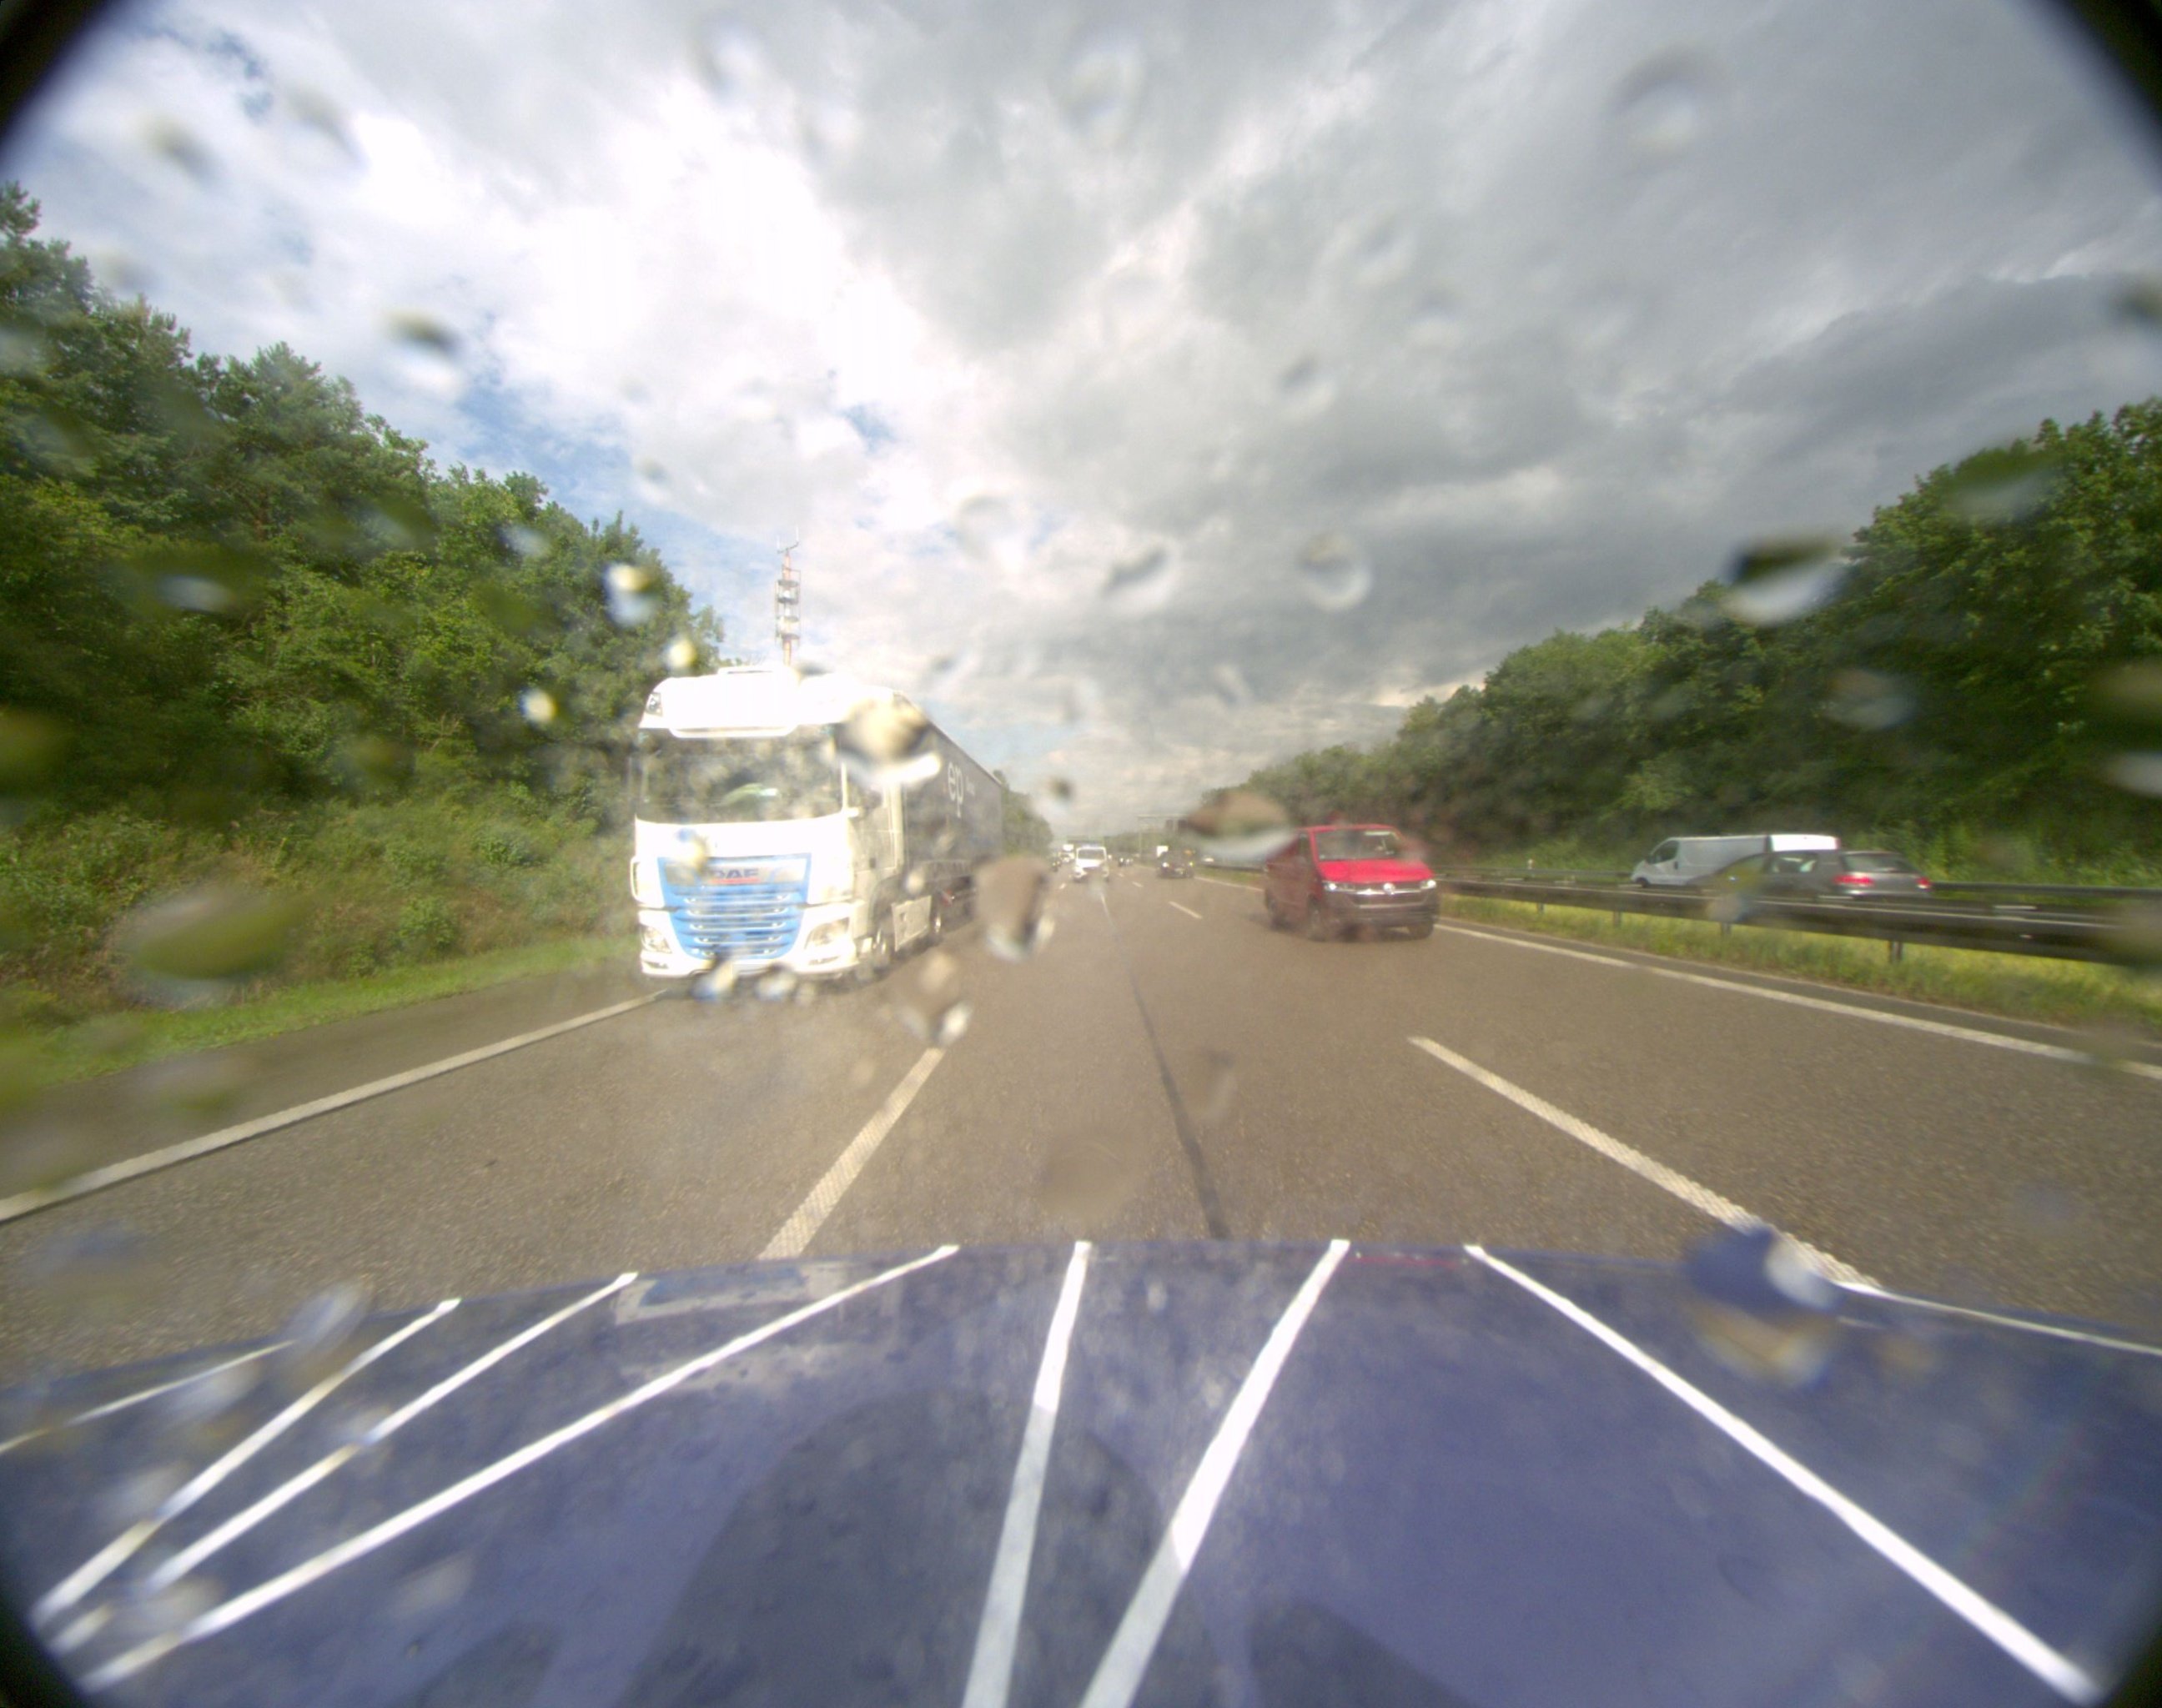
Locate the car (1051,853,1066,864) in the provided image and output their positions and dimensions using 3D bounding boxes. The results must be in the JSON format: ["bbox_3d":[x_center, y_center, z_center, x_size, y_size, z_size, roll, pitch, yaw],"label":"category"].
[{"bbox_3d":[-3.093,0.602,103.954,1.799,1.410,4.838,-2,1,1],"label":"car"}]

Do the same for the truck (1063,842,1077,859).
[{"bbox_3d":[-2.530,-0.798,180.649,3.064,3.827,8.799,-1,0,0],"label":"truck"}]

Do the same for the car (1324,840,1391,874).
[{"bbox_3d":[14.814,0.111,40.971,1.850,1.653,4.661,-2,1,0],"label":"car"}]

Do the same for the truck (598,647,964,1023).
[{"bbox_3d":[-3.795,-0.233,11.858,2.613,3.973,7.289,-2,1,0],"label":"truck"}]

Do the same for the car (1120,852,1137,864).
[{"bbox_3d":[5.816,0.491,94.189,1.799,1.410,4.838,-2,1,1],"label":"car"}]

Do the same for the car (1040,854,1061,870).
[{"bbox_3d":[-3.000,0.772,75.880,1.799,1.410,4.838,-2,1,1],"label":"car"}]

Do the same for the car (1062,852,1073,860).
[{"bbox_3d":[-2.349,0.321,138.128,1.799,1.410,4.838,-2,1,1],"label":"car"}]

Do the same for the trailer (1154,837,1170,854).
[{"bbox_3d":[22.619,-2.353,212.775,2.870,4.347,14.090,-2,1,0],"label":"trailer"}]

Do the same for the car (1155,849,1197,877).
[{"bbox_3d":[5.714,0.498,46.198,2.009,1.488,4.838,-2,1,1],"label":"car"}]

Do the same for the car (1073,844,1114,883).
[{"bbox_3d":[0.695,0.473,43.071,2.124,1.988,5.982,-2,1,1],"label":"car"}]

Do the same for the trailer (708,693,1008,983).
[{"bbox_3d":[-3.793,-0.285,17.692,2.641,3.972,14.062,-2,1,0],"label":"trailer"}]

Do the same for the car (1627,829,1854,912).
[{"bbox_3d":[17.846,0.373,20.993,1.873,1.935,5.040,-2,1,0],"label":"car"}]

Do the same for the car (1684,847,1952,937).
[{"bbox_3d":[13.941,0.628,14.698,1.607,1.455,3.651,-2,1,0],"label":"car"}]

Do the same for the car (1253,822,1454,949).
[{"bbox_3d":[4.658,0.453,13.856,1.927,1.855,4.838,-2,1,1],"label":"car"}]

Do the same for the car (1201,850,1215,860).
[{"bbox_3d":[22.540,0.207,134.780,1.736,1.653,4.235,-2,1,0],"label":"car"}]
